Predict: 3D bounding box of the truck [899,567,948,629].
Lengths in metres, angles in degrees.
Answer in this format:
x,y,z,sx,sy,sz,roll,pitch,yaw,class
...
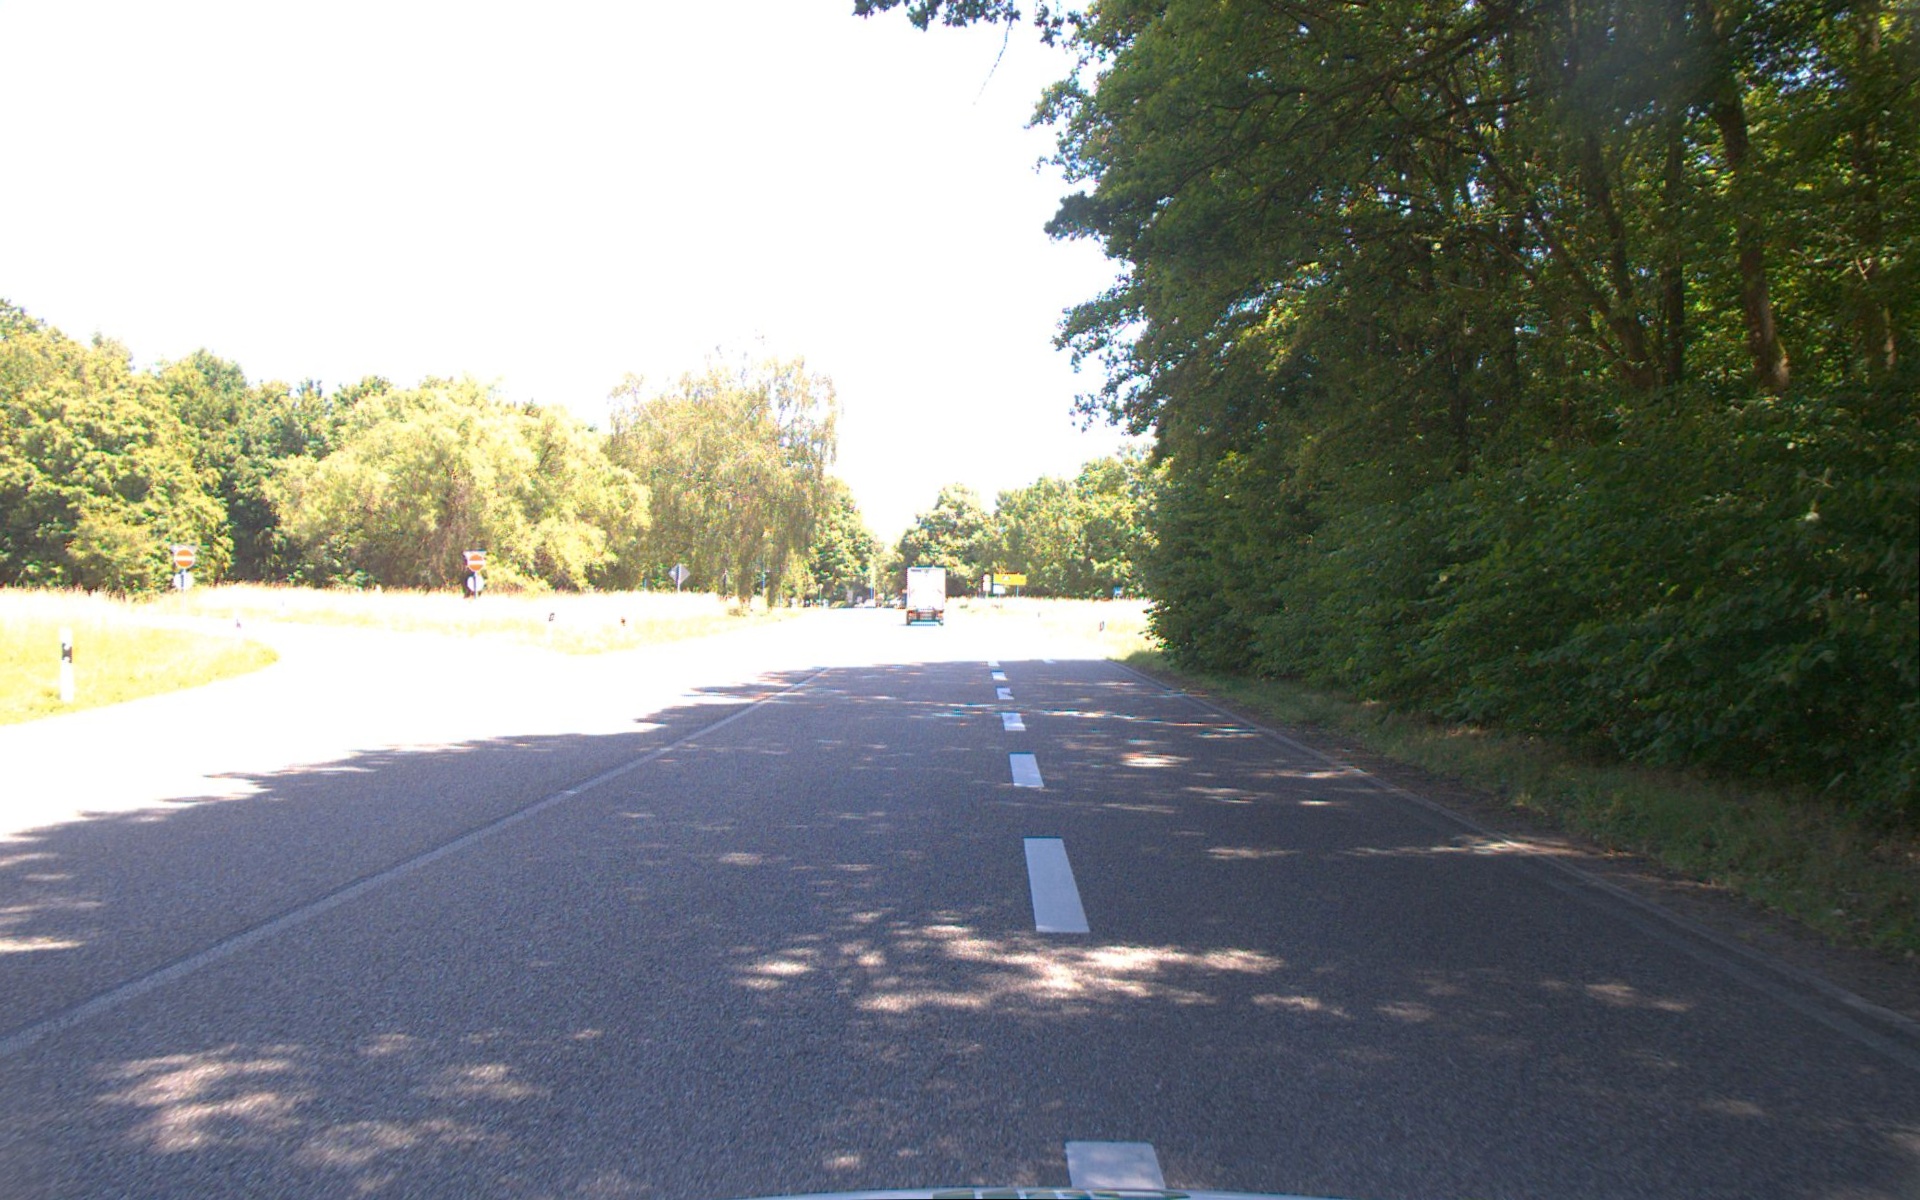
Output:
x,y,z,sx,sy,sz,roll,pitch,yaw,class
-1.921,-0.136,88.833,2.482,3.190,5.360,1,0,0,truck
